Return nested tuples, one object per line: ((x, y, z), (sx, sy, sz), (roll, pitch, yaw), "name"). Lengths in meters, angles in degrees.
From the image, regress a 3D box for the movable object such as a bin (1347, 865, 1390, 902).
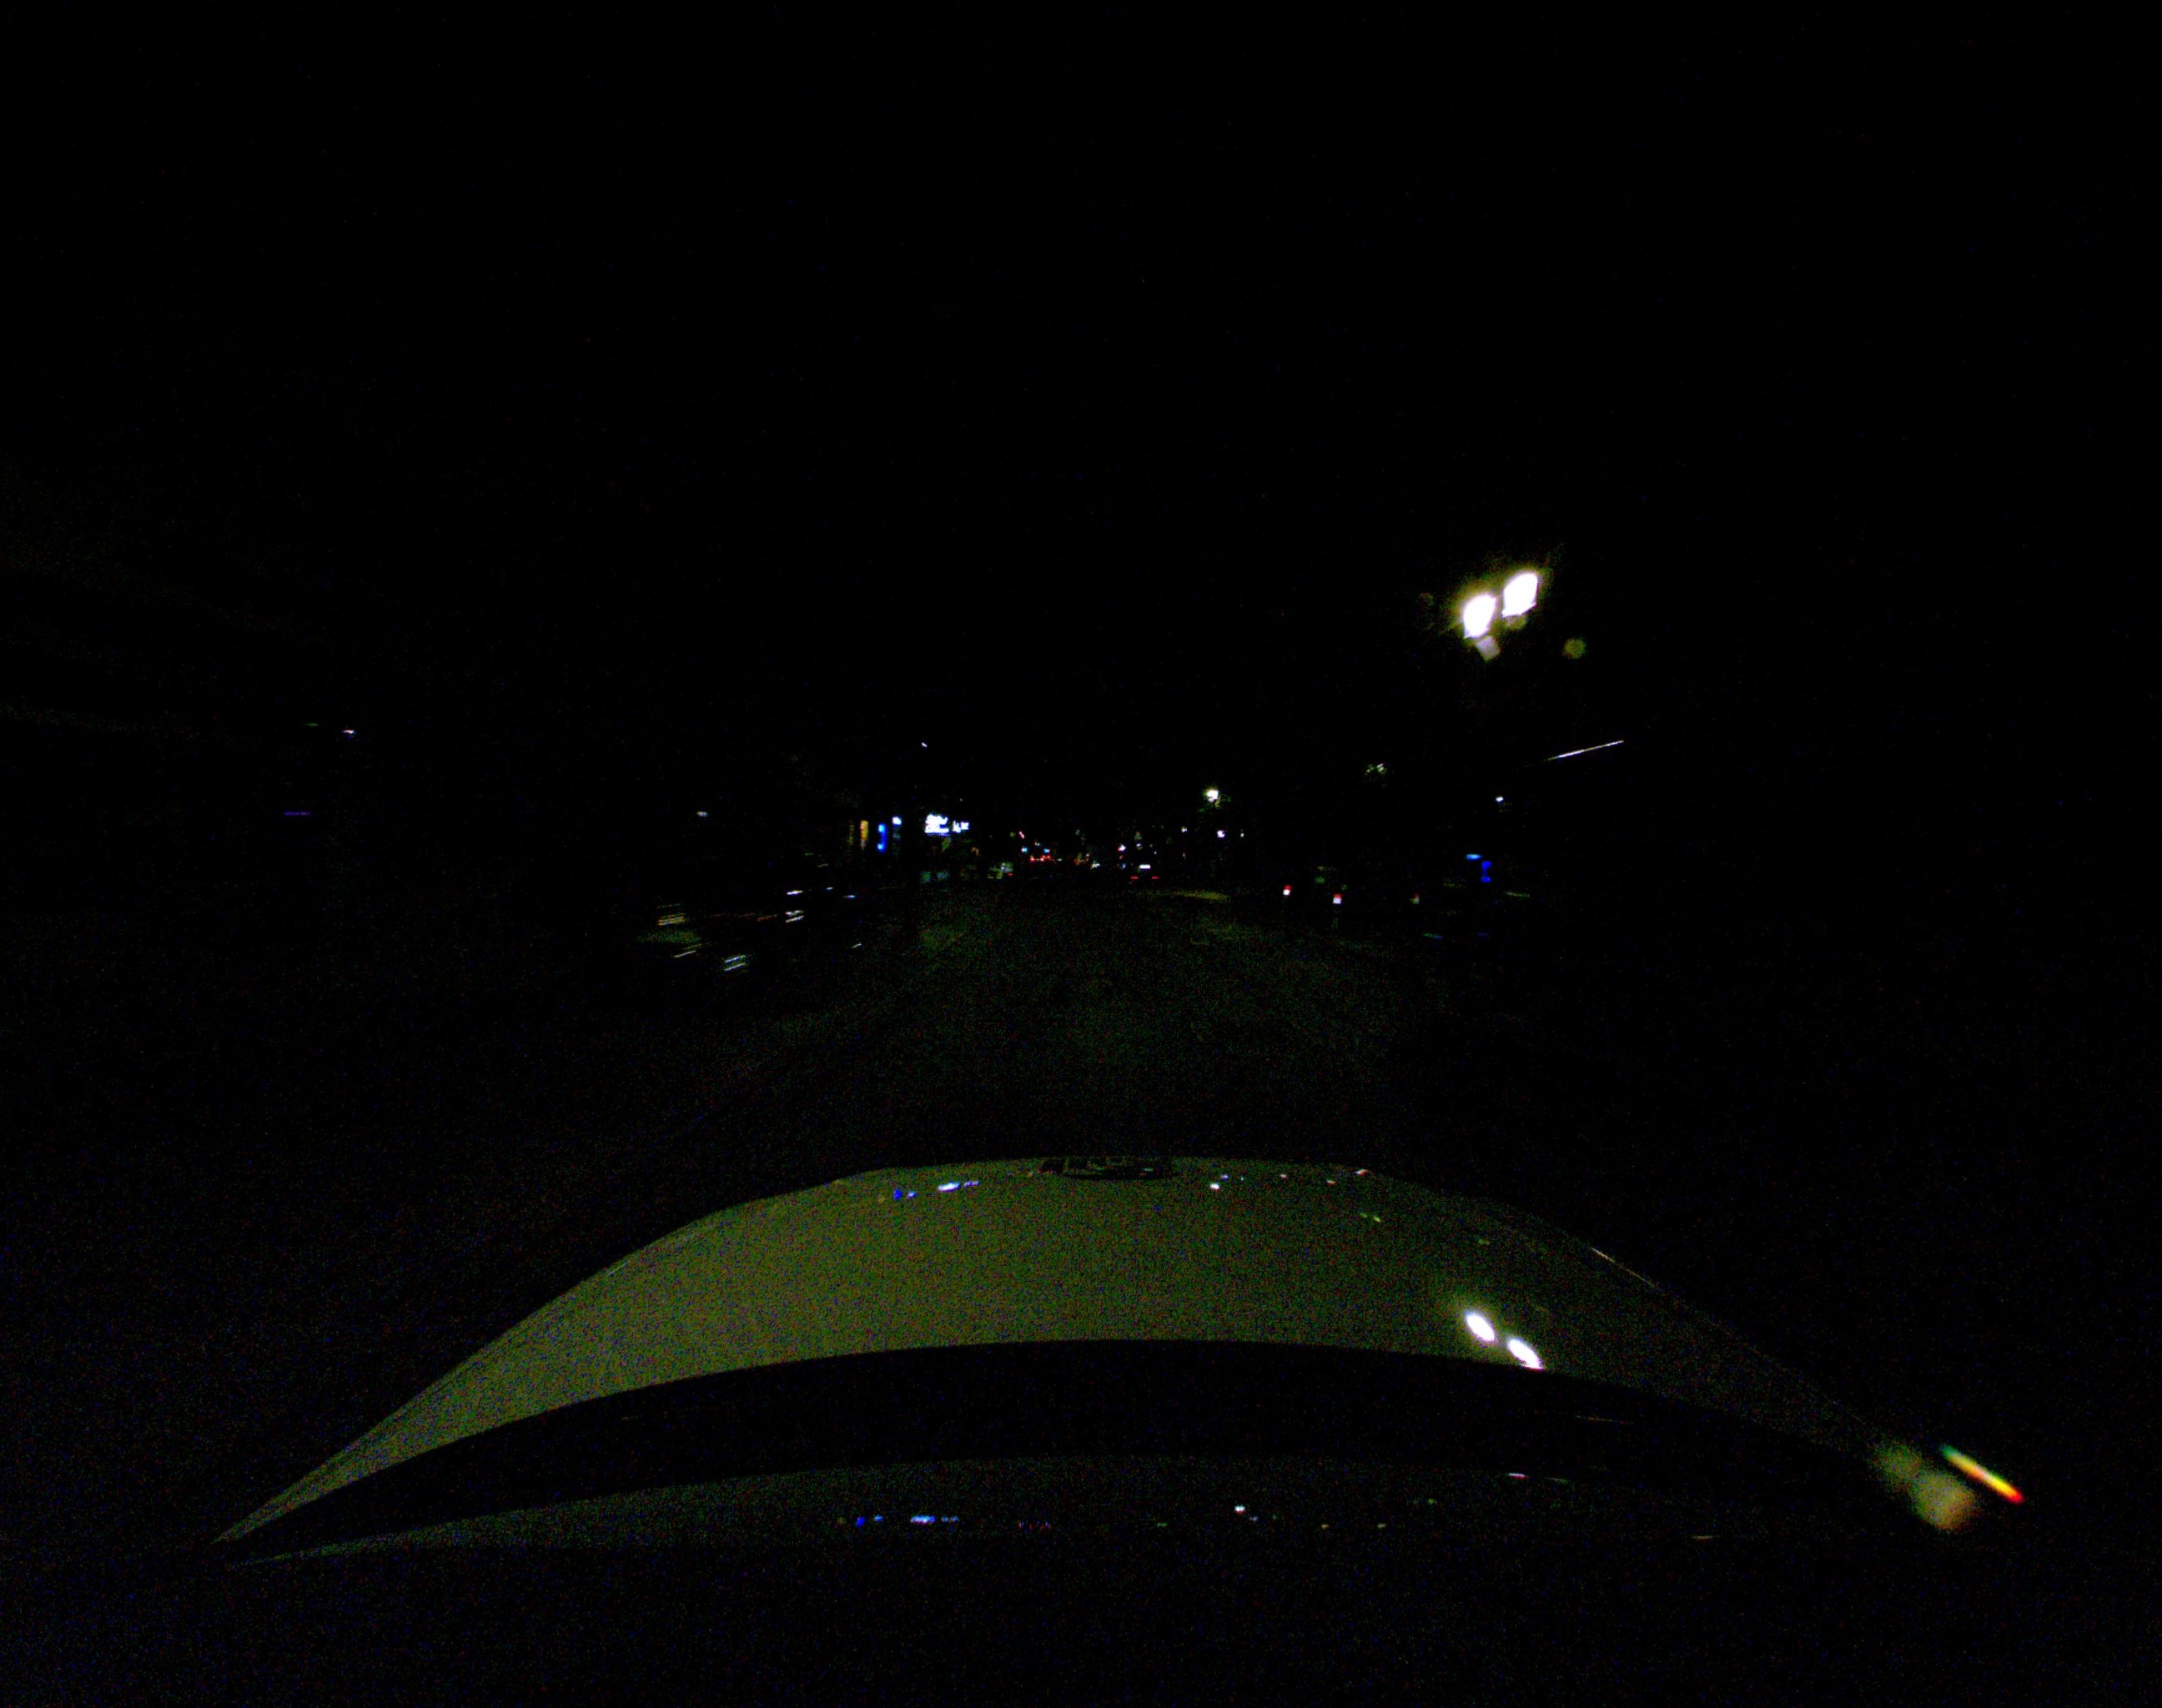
((11.222, 1.145, 31.805), (1.258, 1.419, 1.116), (1, -1, -3), "movable object such as a bin")

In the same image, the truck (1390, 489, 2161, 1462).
((3.822, 0.311, 4.318), (2.327, 2.312, 5.783), (1, 0, 2), "truck")

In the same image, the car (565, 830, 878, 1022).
((-3.519, 0.612, 8.910), (1.670, 1.543, 4.225), (3, 0, -3), "car")

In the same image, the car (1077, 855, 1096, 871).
((0.509, 0.855, 78.738), (1.527, 1.418, 3.841), (2, 0, -3), "car")

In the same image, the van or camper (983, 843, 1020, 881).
((-4.517, 0.438, 46.685), (1.863, 2.011, 4.255), (3, 0, -4), "van or camper")

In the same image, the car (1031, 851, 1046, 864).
((-6.312, 0.452, 120.487), (1.990, 1.823, 3.993), (2, 0, -5), "car")

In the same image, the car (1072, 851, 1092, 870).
((0.119, 0.651, 84.508), (1.835, 1.901, 3.841), (2, 0, -3), "car")

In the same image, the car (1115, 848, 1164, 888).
((2.799, 0.656, 39.851), (1.811, 1.828, 4.341), (1, 0, -4), "car")

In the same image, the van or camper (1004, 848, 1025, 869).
((-6.703, 0.474, 81.408), (1.934, 1.989, 3.836), (2, 0, -7), "van or camper")

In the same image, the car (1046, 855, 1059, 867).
((-3.930, 0.948, 111.967), (1.835, 1.542, 3.841), (2, 0, -3), "car")

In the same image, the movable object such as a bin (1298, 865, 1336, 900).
((9.133, 1.095, 31.568), (1.102, 1.307, 1.008), (3, -1, -5), "movable object such as a bin")

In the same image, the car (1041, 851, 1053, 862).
((-5.951, 0.381, 143.721), (1.990, 1.823, 3.994), (2, 0, -4), "car")

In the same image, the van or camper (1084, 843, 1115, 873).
((1.460, 0.341, 65.795), (2.105, 2.317, 4.255), (0, 0, -4), "van or camper")

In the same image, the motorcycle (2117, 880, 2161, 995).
((12.018, 0.892, 8.572), (1.626, 1.186, 0.560), (2, -1, -4), "motorcycle")
